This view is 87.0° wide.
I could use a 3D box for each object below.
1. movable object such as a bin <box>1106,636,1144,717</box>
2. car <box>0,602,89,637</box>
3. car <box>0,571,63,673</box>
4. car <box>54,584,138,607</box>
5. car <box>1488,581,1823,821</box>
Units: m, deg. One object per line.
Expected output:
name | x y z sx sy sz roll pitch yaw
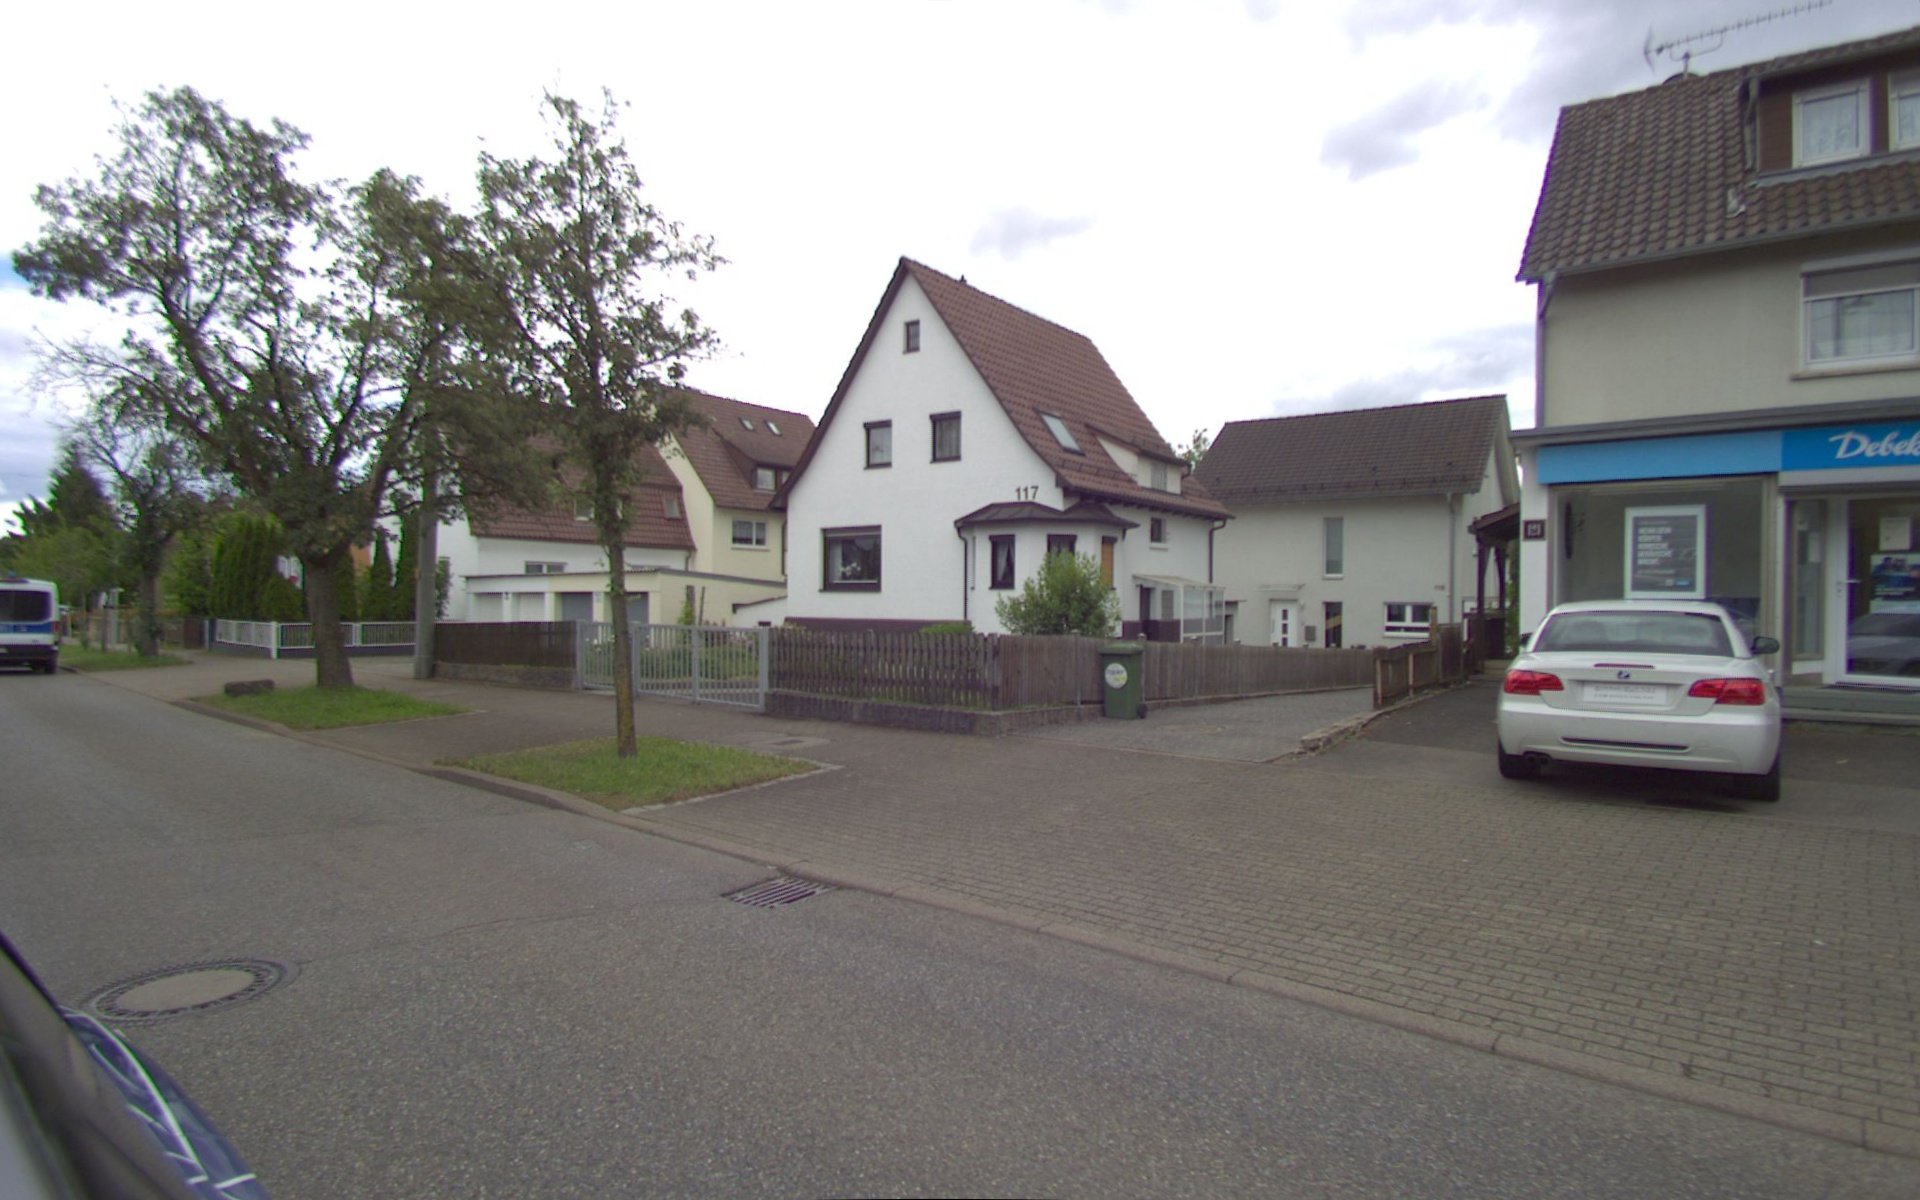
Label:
movable object such as a bin | 2.018 0.933 12.380 0.428 0.967 0.131 -1 0 38
car | -71.086 1.517 78.082 5.526 2.583 2.137 2 -2 -29
car | -26.476 0.592 27.833 5.298 2.602 2.051 -1 -3 42
car | -65.187 -0.365 76.429 1.999 1.633 4.585 -2 -1 41
car | 5.748 0.590 8.416 1.813 1.378 4.241 -1 2 36
